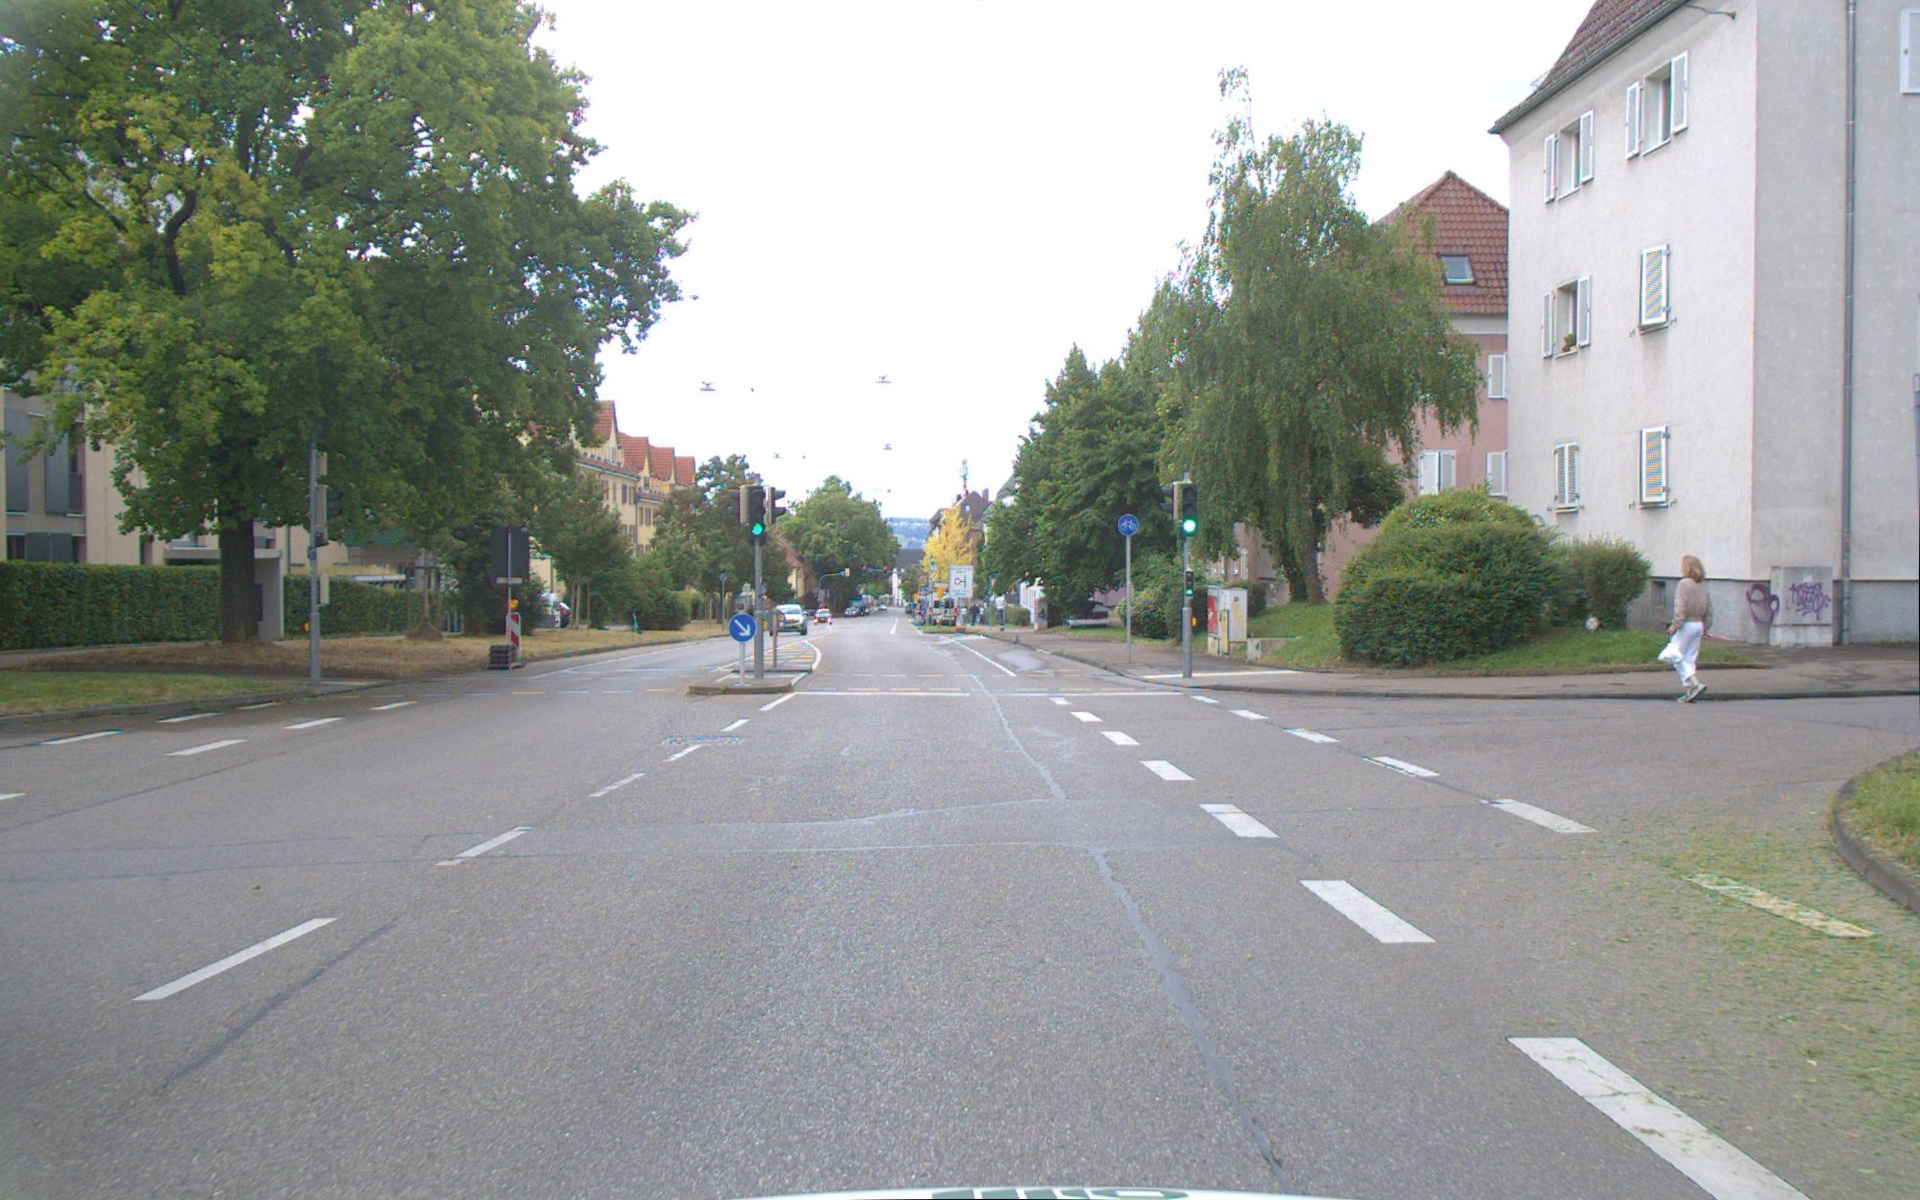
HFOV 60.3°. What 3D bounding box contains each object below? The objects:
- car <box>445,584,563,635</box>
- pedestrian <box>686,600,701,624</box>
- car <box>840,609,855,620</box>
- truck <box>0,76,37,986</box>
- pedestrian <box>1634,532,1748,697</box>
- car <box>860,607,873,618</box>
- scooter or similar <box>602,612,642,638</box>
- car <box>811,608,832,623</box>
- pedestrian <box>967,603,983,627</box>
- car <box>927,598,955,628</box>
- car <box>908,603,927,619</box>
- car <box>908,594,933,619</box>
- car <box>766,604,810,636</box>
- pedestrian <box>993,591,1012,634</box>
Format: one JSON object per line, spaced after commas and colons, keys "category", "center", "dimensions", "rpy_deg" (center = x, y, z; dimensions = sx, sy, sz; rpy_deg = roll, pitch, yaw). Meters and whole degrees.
{"category": "car", "center": [-15.104, 0.326, 54.915], "dimensions": [3.380, 1.624, 1.999], "rpy_deg": [0, -1, -4]}
{"category": "pedestrian", "center": [-22.815, 1.016, 141.795], "dimensions": [1.163, 2.049, 0.978], "rpy_deg": [0, -1, -5]}
{"category": "car", "center": [-15.507, 1.967, 228.872], "dimensions": [1.954, 1.532, 3.998], "rpy_deg": [0, 0, -3]}
{"category": "truck", "center": [-5.207, -0.257, 2.857], "dimensions": [2.478, 3.365, 7.256], "rpy_deg": [0, 0, 7]}
{"category": "pedestrian", "center": [8.708, 0.162, 19.728], "dimensions": [0.736, 1.887, 0.950], "rpy_deg": [-3, 0, -16]}
{"category": "car", "center": [-14.174, 1.883, 251.333], "dimensions": [1.954, 1.532, 3.998], "rpy_deg": [0, 0, -3]}
{"category": "scooter or similar", "center": [-14.533, 1.084, 71.156], "dimensions": [1.662, 1.101, 0.745], "rpy_deg": [1, -1, -10]}
{"category": "car", "center": [-14.278, 1.564, 170.487], "dimensions": [1.954, 1.532, 3.998], "rpy_deg": [0, 0, -3]}
{"category": "pedestrian", "center": [1.183, 1.138, 128.904], "dimensions": [1.176, 1.842, 1.301], "rpy_deg": [0, -1, -1]}
{"category": "car", "center": [-1.355, 0.934, 116.071], "dimensions": [1.953, 2.049, 3.999], "rpy_deg": [0, 0, -1]}
{"category": "car", "center": [-4.805, 1.238, 185.780], "dimensions": [1.954, 1.685, 3.996], "rpy_deg": [0, 0, -5]}
{"category": "car", "center": [-3.582, 0.622, 149.306], "dimensions": [1.955, 2.210, 3.996], "rpy_deg": [0, 0, -5]}
{"category": "car", "center": [-8.523, 0.985, 82.150], "dimensions": [1.954, 1.532, 3.998], "rpy_deg": [0, 0, -3]}
{"category": "pedestrian", "center": [2.250, 0.664, 87.170], "dimensions": [0.969, 2.246, 0.938], "rpy_deg": [0, -1, 1]}
